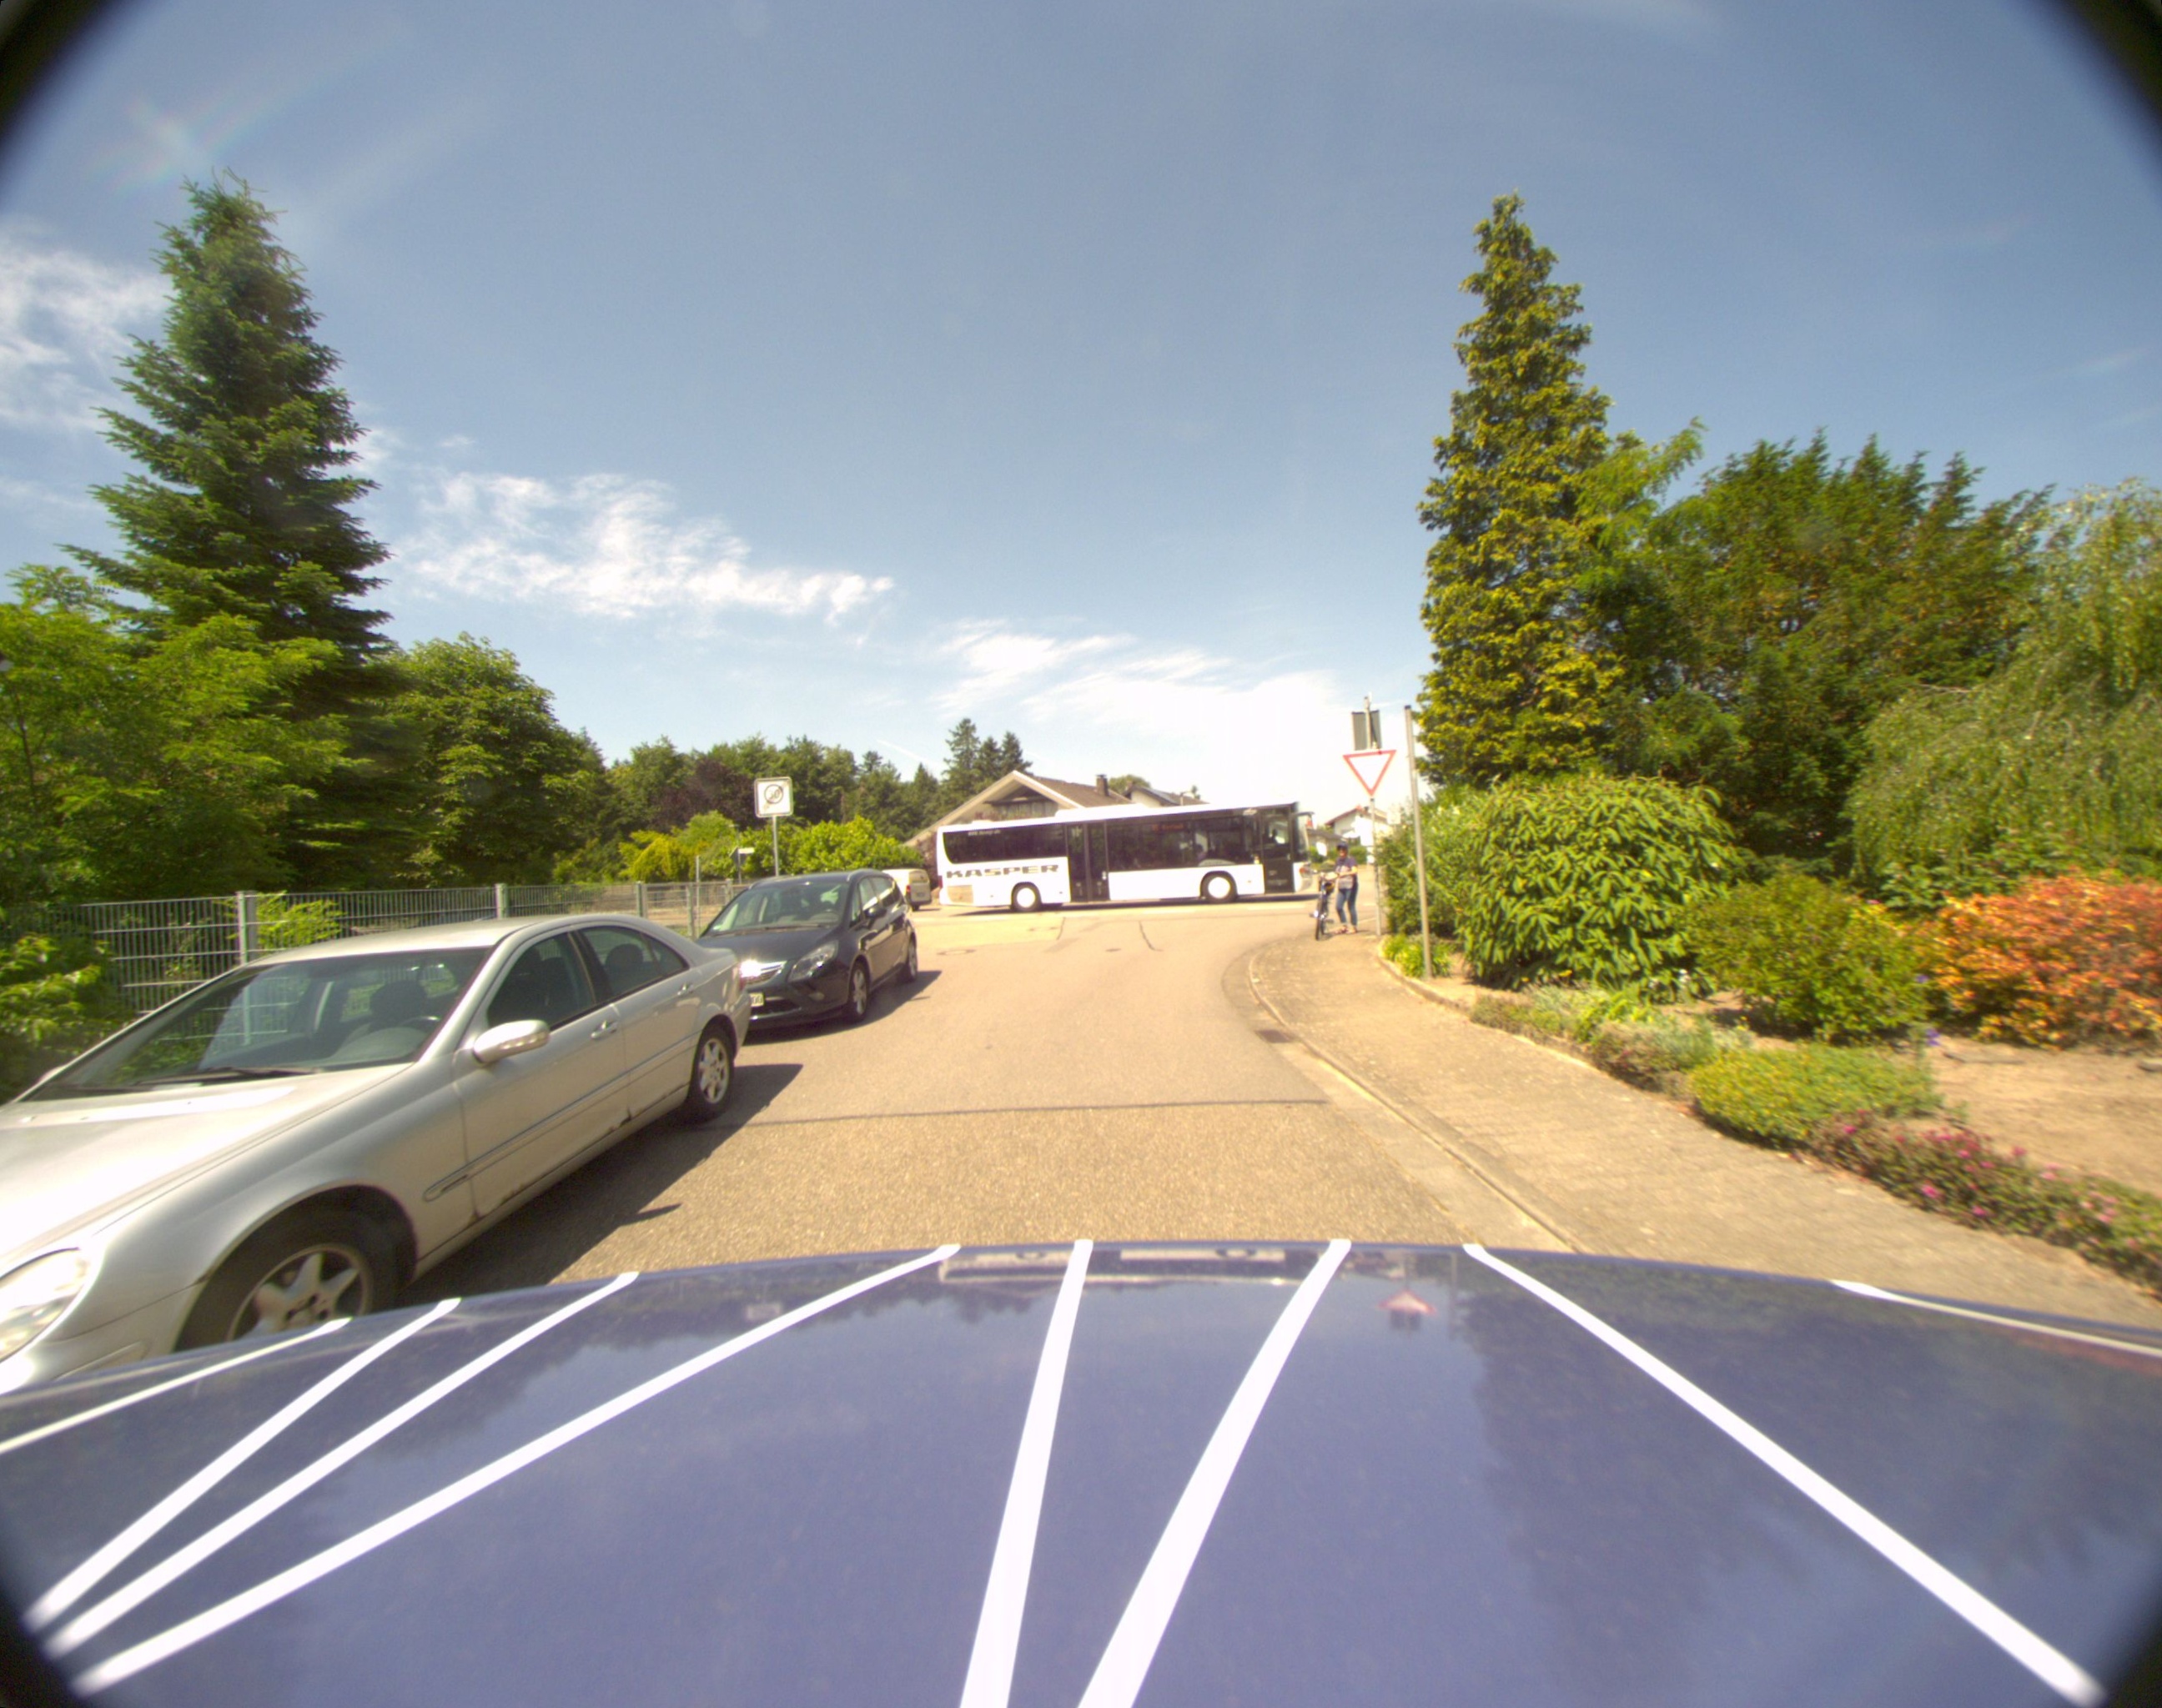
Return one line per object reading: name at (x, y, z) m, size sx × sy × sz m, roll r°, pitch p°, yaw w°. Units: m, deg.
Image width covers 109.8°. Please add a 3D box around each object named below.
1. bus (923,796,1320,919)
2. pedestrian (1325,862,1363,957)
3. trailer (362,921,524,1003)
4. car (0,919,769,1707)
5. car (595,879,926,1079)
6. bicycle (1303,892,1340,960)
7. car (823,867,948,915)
bus at (1.176, 0.276, 25.332) m, size 12.685 × 3.225 × 3.196 m, roll -3°, pitch -1°, yaw 19°
pedestrian at (4.297, 0.891, 12.417) m, size 0.503 × 1.491 × 0.613 m, roll -3°, pitch -1°, yaw 19°
trailer at (-10.844, 1.795, 13.070) m, size 1.106 × 1.077 × 2.221 m, roll -2°, pitch -1°, yaw -9°
car at (-3.196, 1.213, 3.487) m, size 1.691 × 1.451 × 4.337 m, roll -3°, pitch -1°, yaw 0°
car at (-3.366, 1.202, 9.190) m, size 1.968 × 1.652 × 4.683 m, roll -3°, pitch -1°, yaw 0°
bicycle at (4.016, 1.162, 12.620) m, size 0.442 × 0.958 × 1.851 m, roll -3°, pitch -1°, yaw 20°
car at (-8.588, 1.640, 33.336) m, size 5.056 × 1.845 × 2.023 m, roll -3°, pitch -1°, yaw 24°
